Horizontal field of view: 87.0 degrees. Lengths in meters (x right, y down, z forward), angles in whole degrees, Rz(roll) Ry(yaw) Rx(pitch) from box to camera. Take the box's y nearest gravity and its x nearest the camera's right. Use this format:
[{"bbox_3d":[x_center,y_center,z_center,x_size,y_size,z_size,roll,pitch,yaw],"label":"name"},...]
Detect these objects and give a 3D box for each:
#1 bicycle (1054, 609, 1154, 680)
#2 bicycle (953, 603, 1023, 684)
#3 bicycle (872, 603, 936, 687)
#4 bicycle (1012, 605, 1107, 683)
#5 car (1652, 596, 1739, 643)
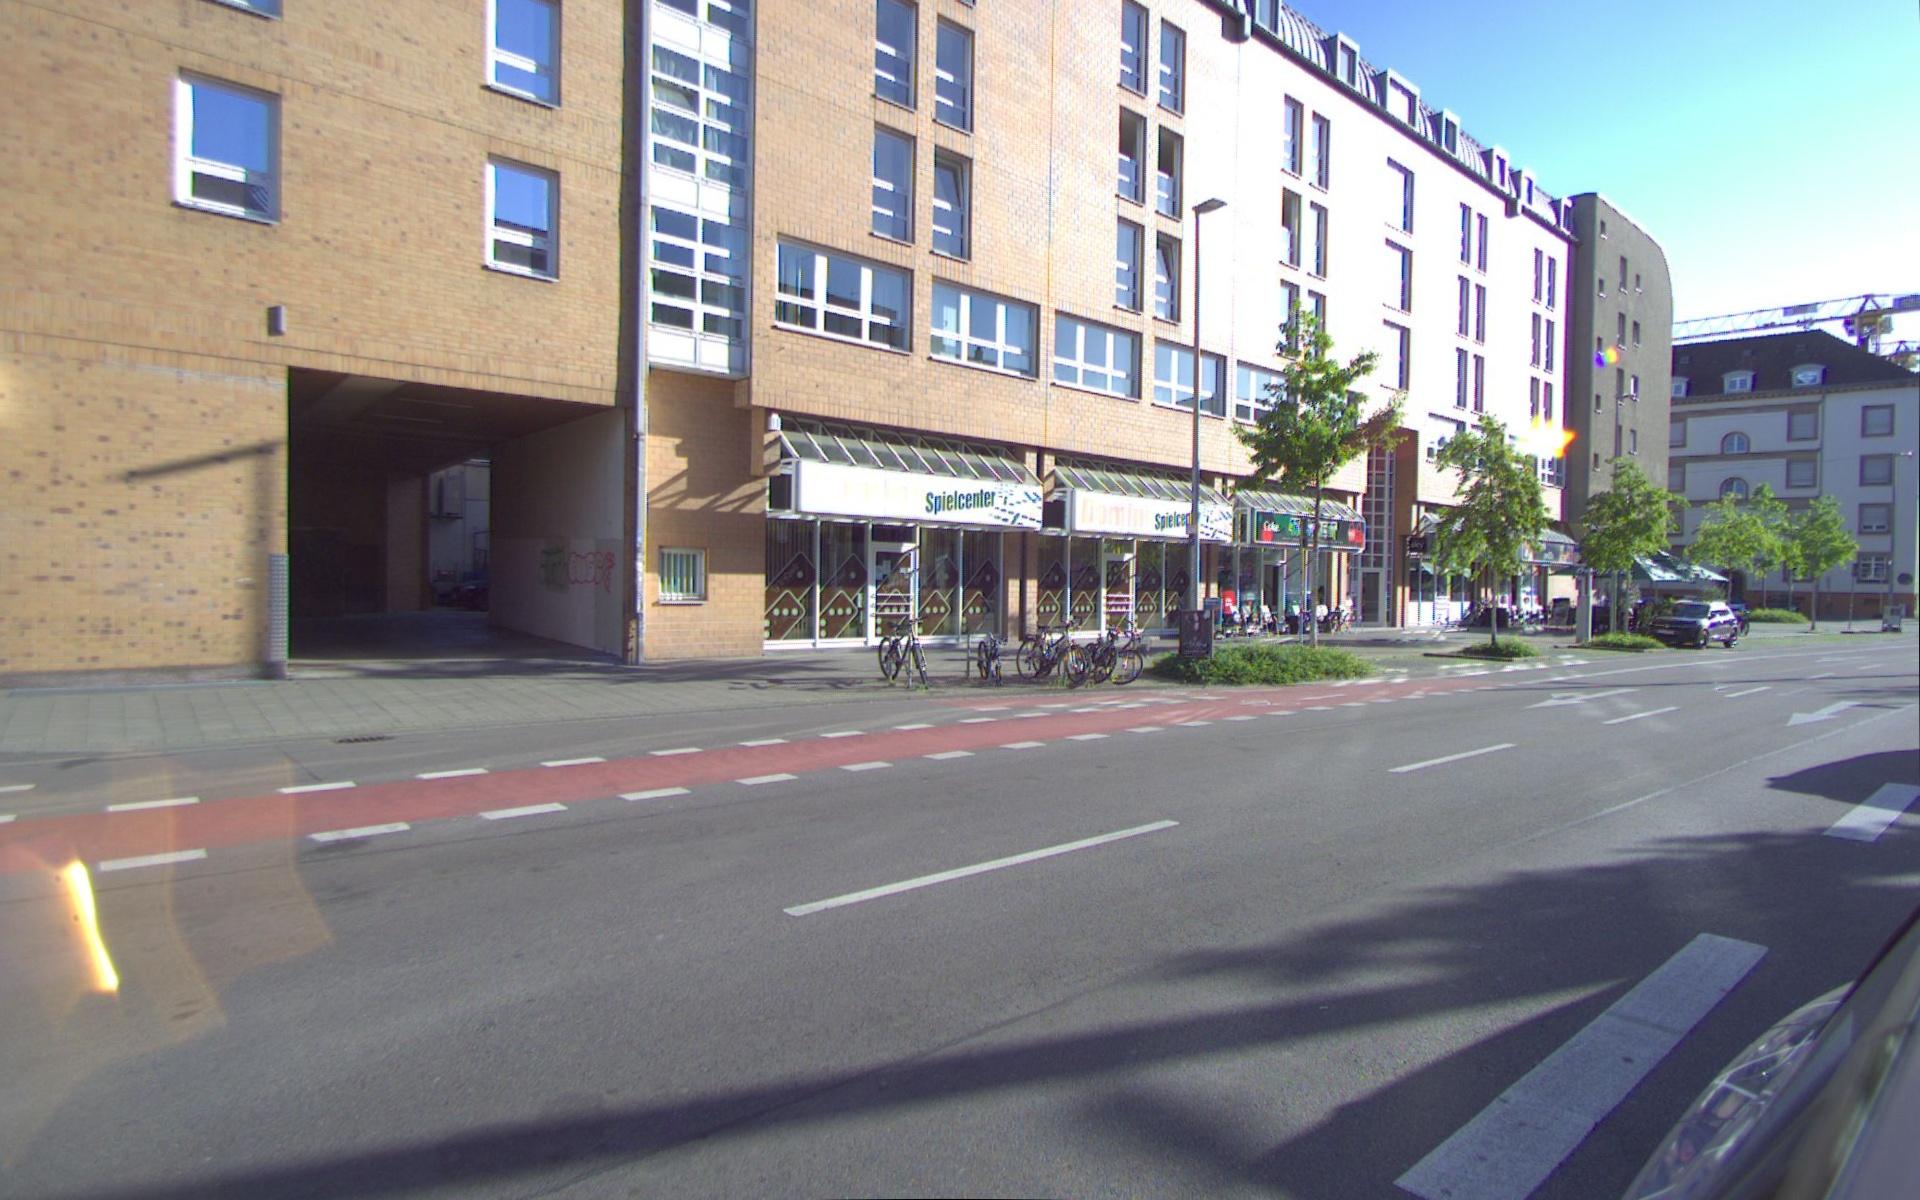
[{"bbox_3d":[2.548,0.763,18.073,0.724,1.084,1.775,-1,3,-37],"label":"bicycle"},{"bbox_3d":[0.444,0.678,16.765,0.541,1.162,1.780,0,3,-20],"label":"bicycle"},{"bbox_3d":[-0.923,0.690,16.295,0.541,1.162,1.780,0,3,-20],"label":"bicycle"},{"bbox_3d":[1.671,0.719,17.237,0.543,1.155,1.775,-1,3,-37],"label":"bicycle"},{"bbox_3d":[25.738,0.632,35.383,3.628,1.549,1.654,-1,0,-40],"label":"car"}]
